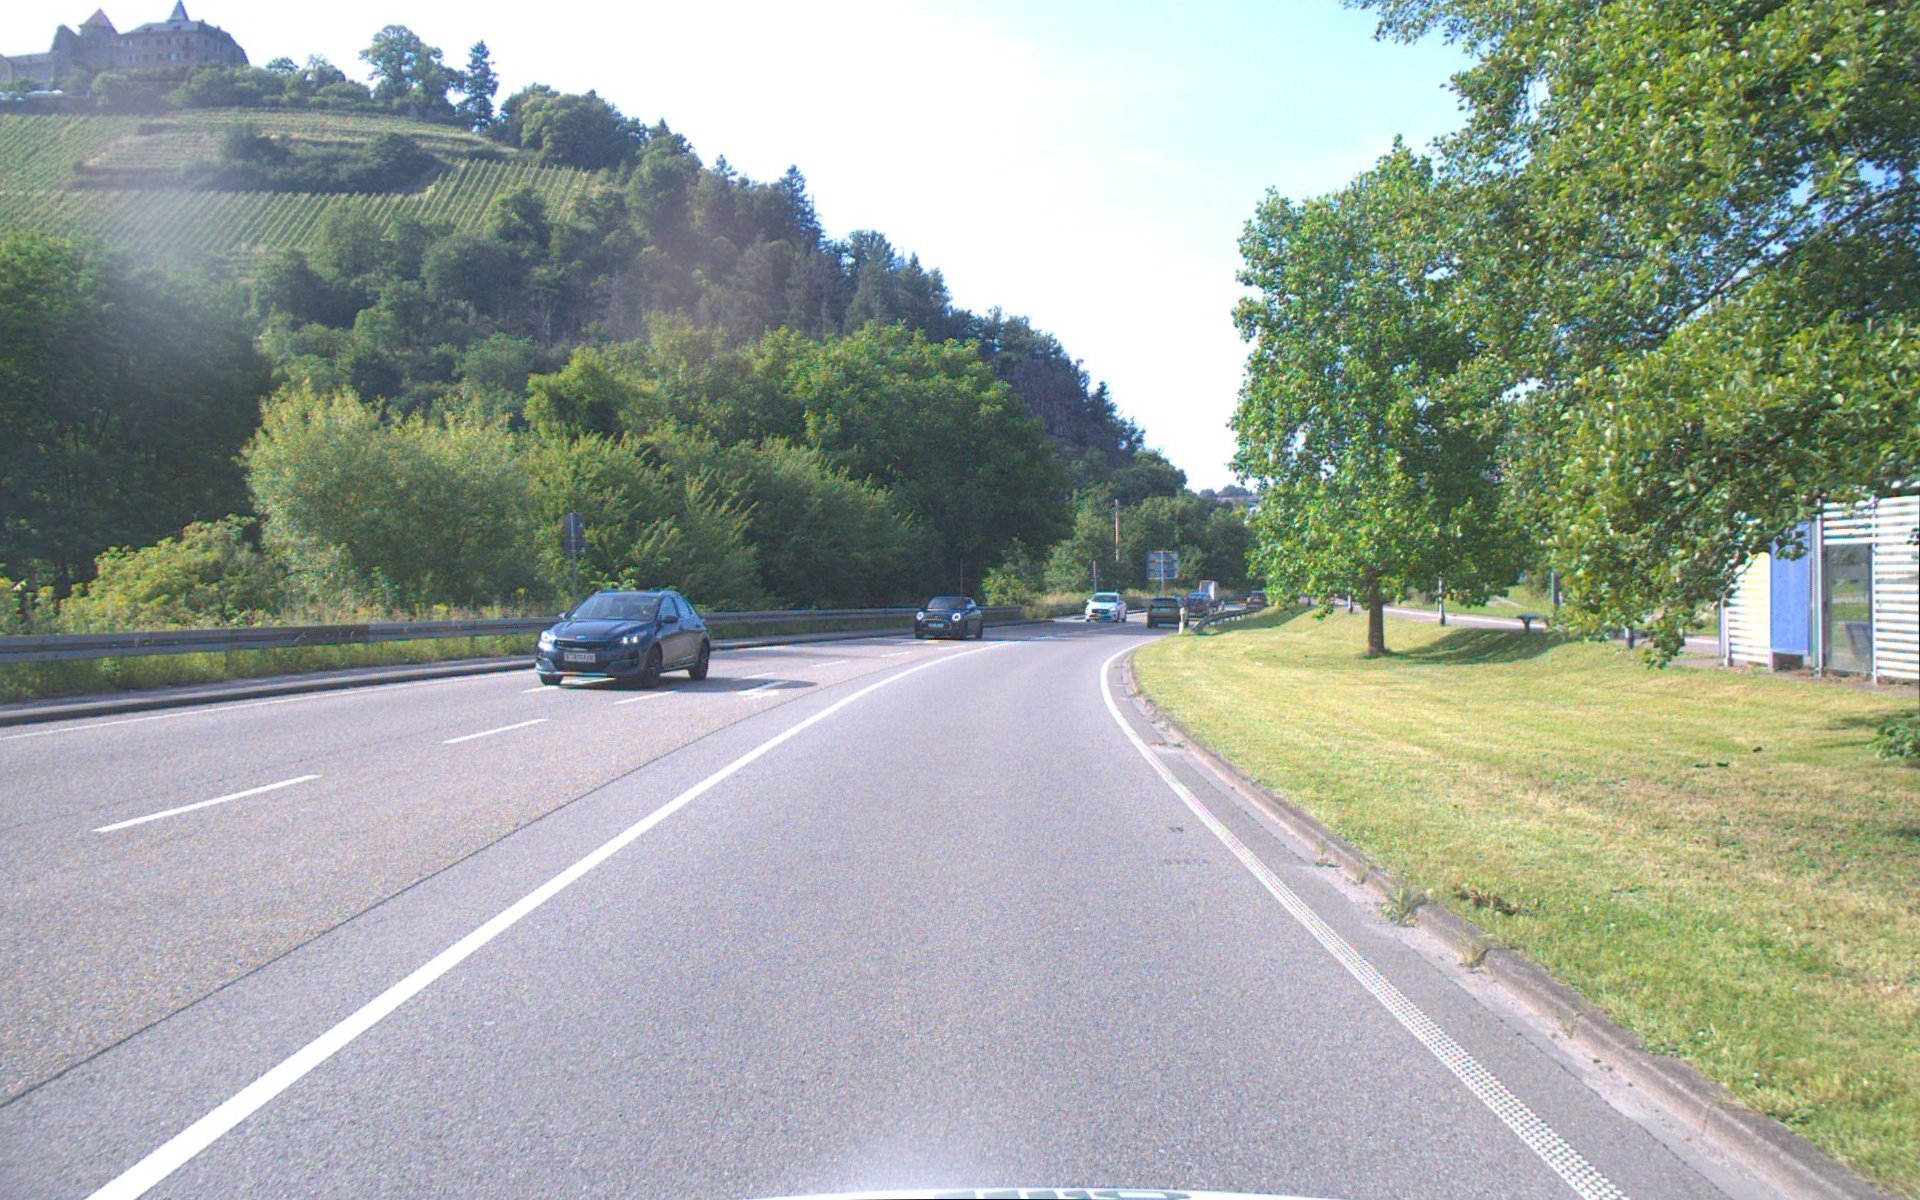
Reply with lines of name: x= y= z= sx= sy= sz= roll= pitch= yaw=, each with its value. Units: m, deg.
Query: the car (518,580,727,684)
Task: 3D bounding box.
car: x=-5.318 y=0.450 z=26.712 sx=1.811 sy=1.495 sz=4.546 roll=1 pitch=1 yaw=9

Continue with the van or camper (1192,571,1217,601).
van or camper: x=19.627 y=-1.142 z=132.678 sx=1.568 sy=2.369 sz=4.063 roll=2 pitch=1 yaw=14

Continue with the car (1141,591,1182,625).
car: x=9.560 y=0.371 z=78.204 sx=1.691 sy=1.482 sz=3.413 roll=-2 pitch=0 yaw=10

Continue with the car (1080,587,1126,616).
car: x=7.790 y=0.048 z=89.847 sx=1.903 sy=1.512 sz=4.589 roll=1 pitch=1 yaw=12

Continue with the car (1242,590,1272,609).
car: x=23.767 y=-0.053 z=132.239 sx=1.769 sy=1.478 sz=3.649 roll=-2 pitch=0 yaw=19

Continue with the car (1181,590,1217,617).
car: x=14.154 y=0.213 z=97.935 sx=1.801 sy=1.485 sz=3.716 roll=-2 pitch=0 yaw=12

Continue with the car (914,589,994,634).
car: x=-0.161 y=0.353 z=55.481 sx=1.658 sy=1.426 sz=4.205 roll=0 pitch=0 yaw=15
